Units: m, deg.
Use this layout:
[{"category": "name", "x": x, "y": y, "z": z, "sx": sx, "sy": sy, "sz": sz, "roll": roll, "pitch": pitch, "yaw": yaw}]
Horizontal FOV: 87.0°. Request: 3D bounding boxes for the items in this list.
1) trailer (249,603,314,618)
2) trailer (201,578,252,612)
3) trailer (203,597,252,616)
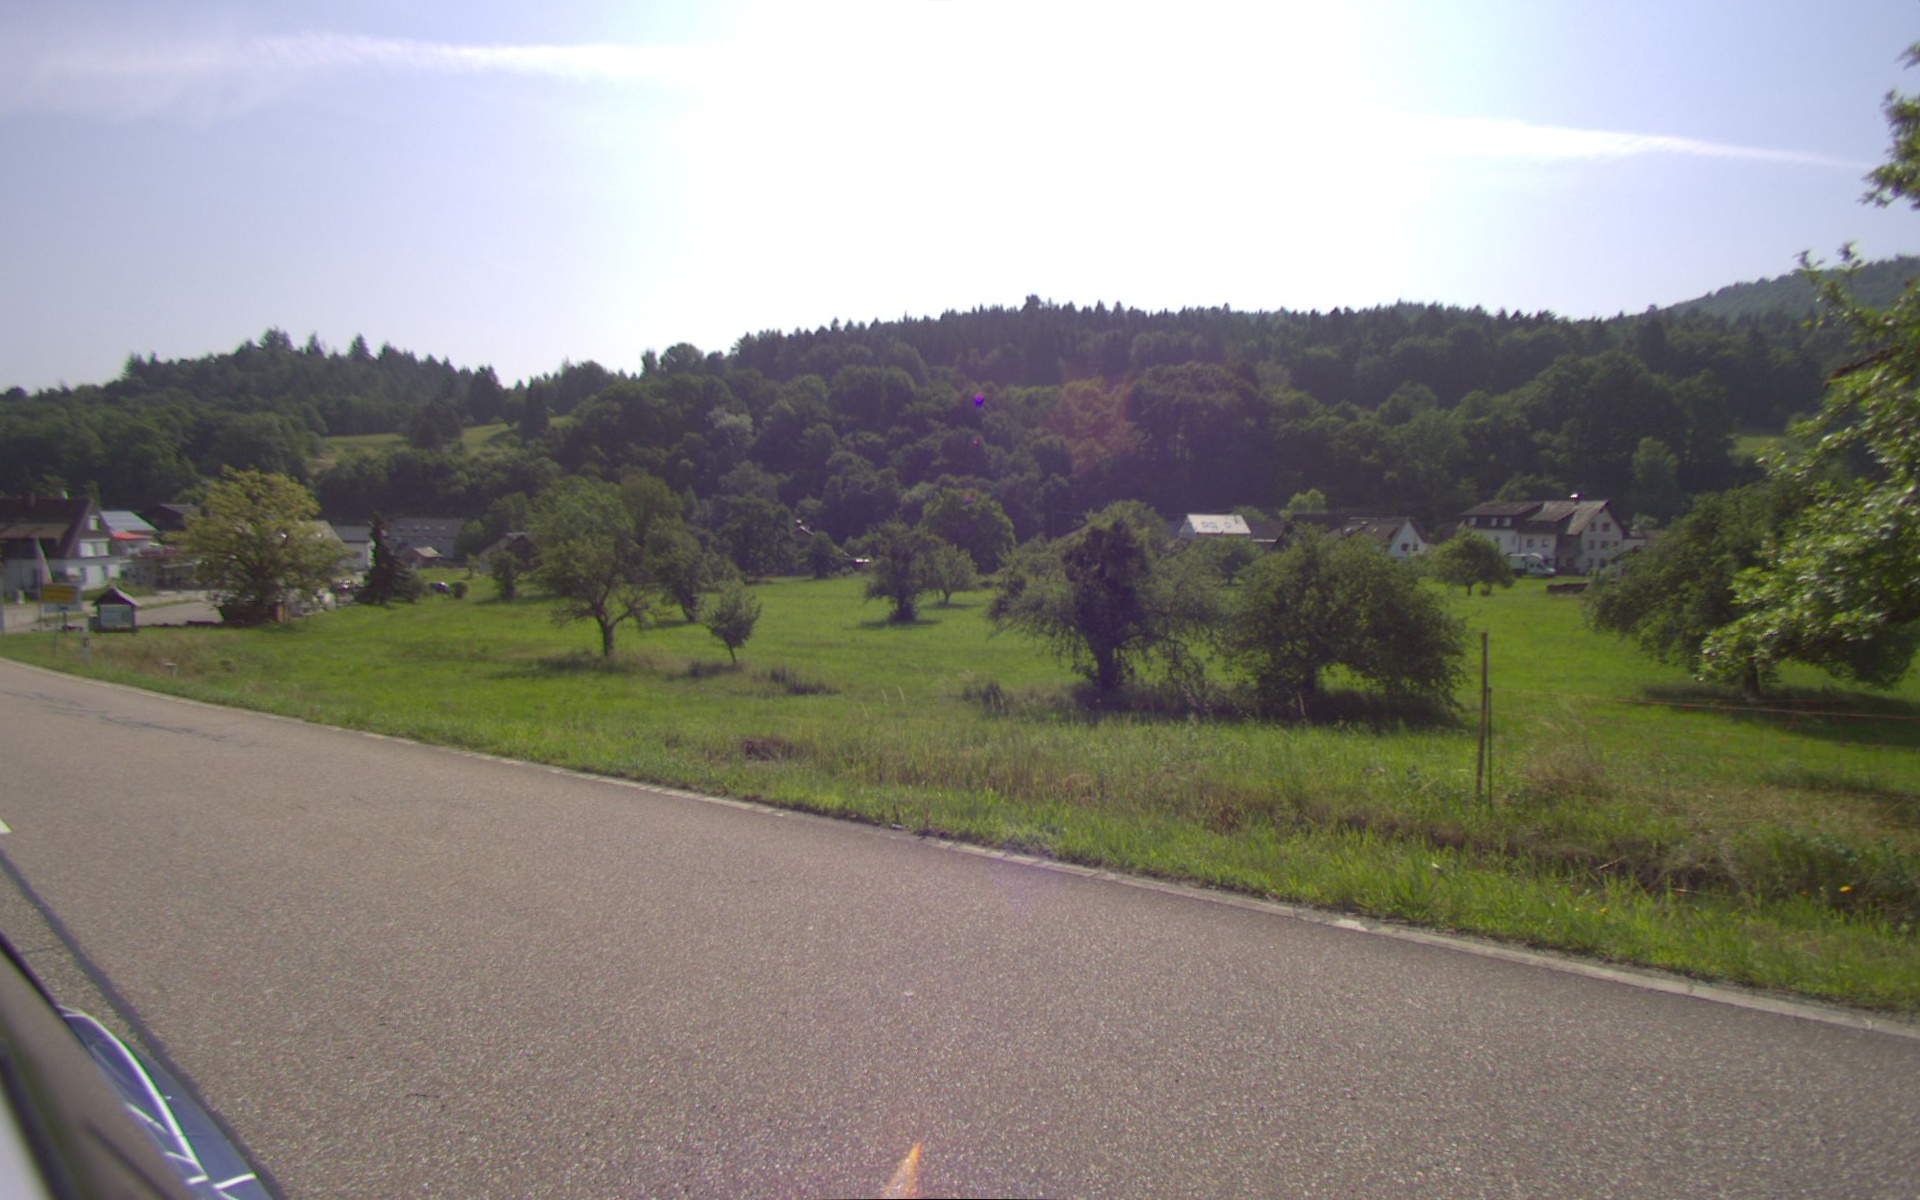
[{"category": "trailer", "x": -53.510, "y": 0.813, "z": 79.877, "sx": 3.878, "sy": 0.946, "sz": 1.874, "roll": -2, "pitch": 4, "yaw": -17}, {"category": "trailer", "x": -67.968, "y": -0.488, "z": 93.820, "sx": 3.344, "sy": 2.933, "sz": 1.890, "roll": -2, "pitch": 3, "yaw": -22}, {"category": "trailer", "x": -64.103, "y": 0.542, "z": 88.656, "sx": 1.966, "sy": 1.235, "sz": 5.565, "roll": -2, "pitch": 4, "yaw": -20}]
